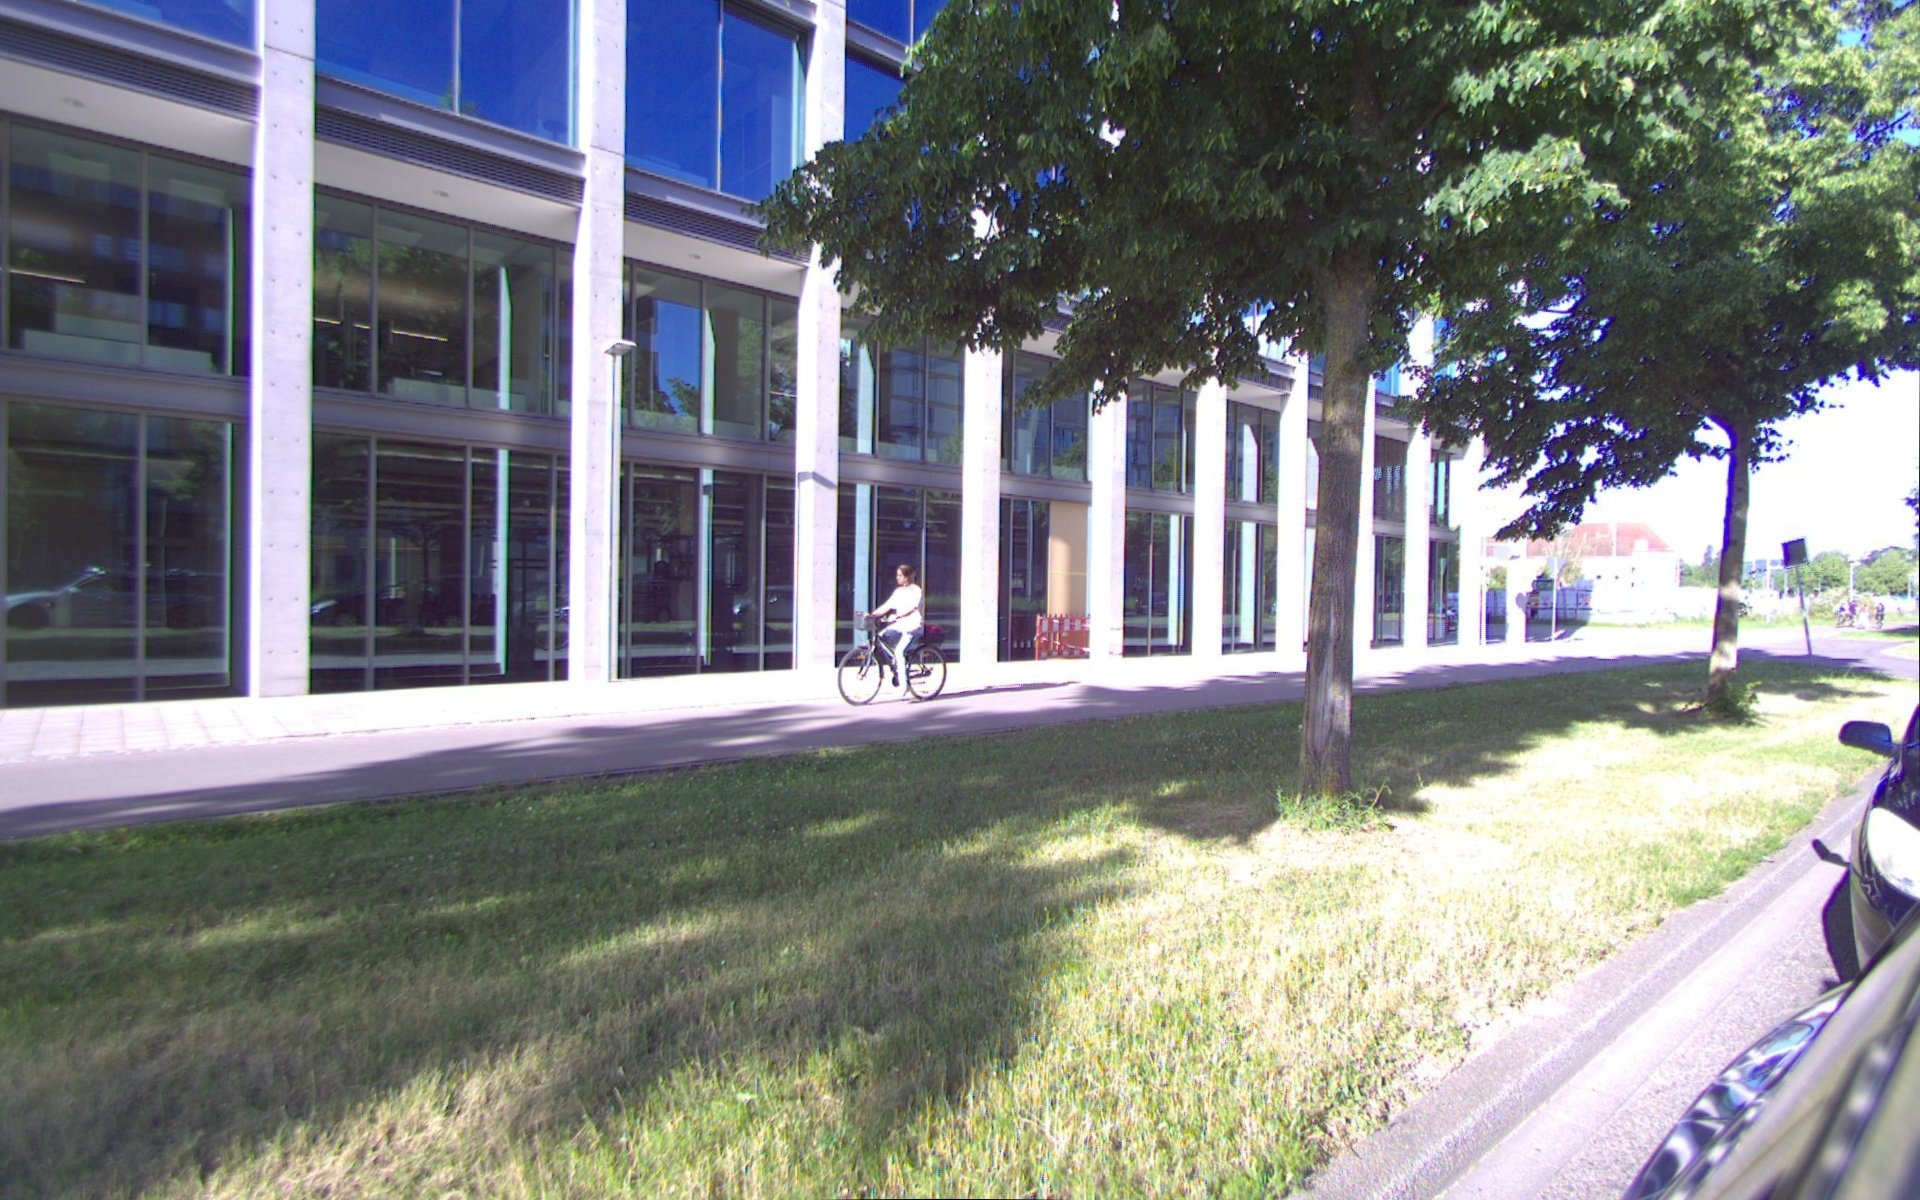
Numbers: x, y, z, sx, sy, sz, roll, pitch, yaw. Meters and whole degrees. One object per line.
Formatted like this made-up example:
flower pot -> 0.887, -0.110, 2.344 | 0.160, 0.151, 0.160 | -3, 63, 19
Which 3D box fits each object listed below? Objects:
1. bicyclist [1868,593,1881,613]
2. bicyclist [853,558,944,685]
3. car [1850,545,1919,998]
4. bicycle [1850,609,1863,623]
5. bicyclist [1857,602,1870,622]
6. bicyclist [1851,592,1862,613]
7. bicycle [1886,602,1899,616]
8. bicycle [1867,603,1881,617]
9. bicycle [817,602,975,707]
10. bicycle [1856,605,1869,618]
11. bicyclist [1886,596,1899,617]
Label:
bicyclist -> 55.701, 0.176, 61.642 | 0.498, 1.232, 0.534 | 0, 0, -40
bicyclist -> -0.782, 0.250, 12.841 | 0.835, 1.550, 0.773 | 0, 1, -41
car -> 5.103, 0.595, 4.156 | 3.719, 1.541, 1.685 | 0, 1, -41
bicycle -> 55.099, 0.978, 62.198 | 1.296, 0.828, 0.415 | -1, 0, -40
bicyclist -> 57.919, 0.772, 64.886 | 0.449, 1.305, 0.534 | 0, 0, -40
bicyclist -> 55.098, 0.137, 62.201 | 0.410, 1.305, 0.448 | 0, 0, -40
bicycle -> 58.909, 0.559, 63.949 | 1.321, 0.828, 0.464 | -1, 0, -40
bicycle -> 55.679, 0.608, 61.620 | 1.321, 0.828, 0.464 | -1, 0, -40
bicycle -> -0.785, 0.644, 12.820 | 1.927, 1.188, 0.743 | 0, 2, -41
bicycle -> 57.906, 0.752, 64.911 | 1.321, 0.828, 0.464 | -1, 0, -40
bicyclist -> 58.899, 0.398, 63.926 | 0.512, 1.305, 0.534 | 0, 0, -40
